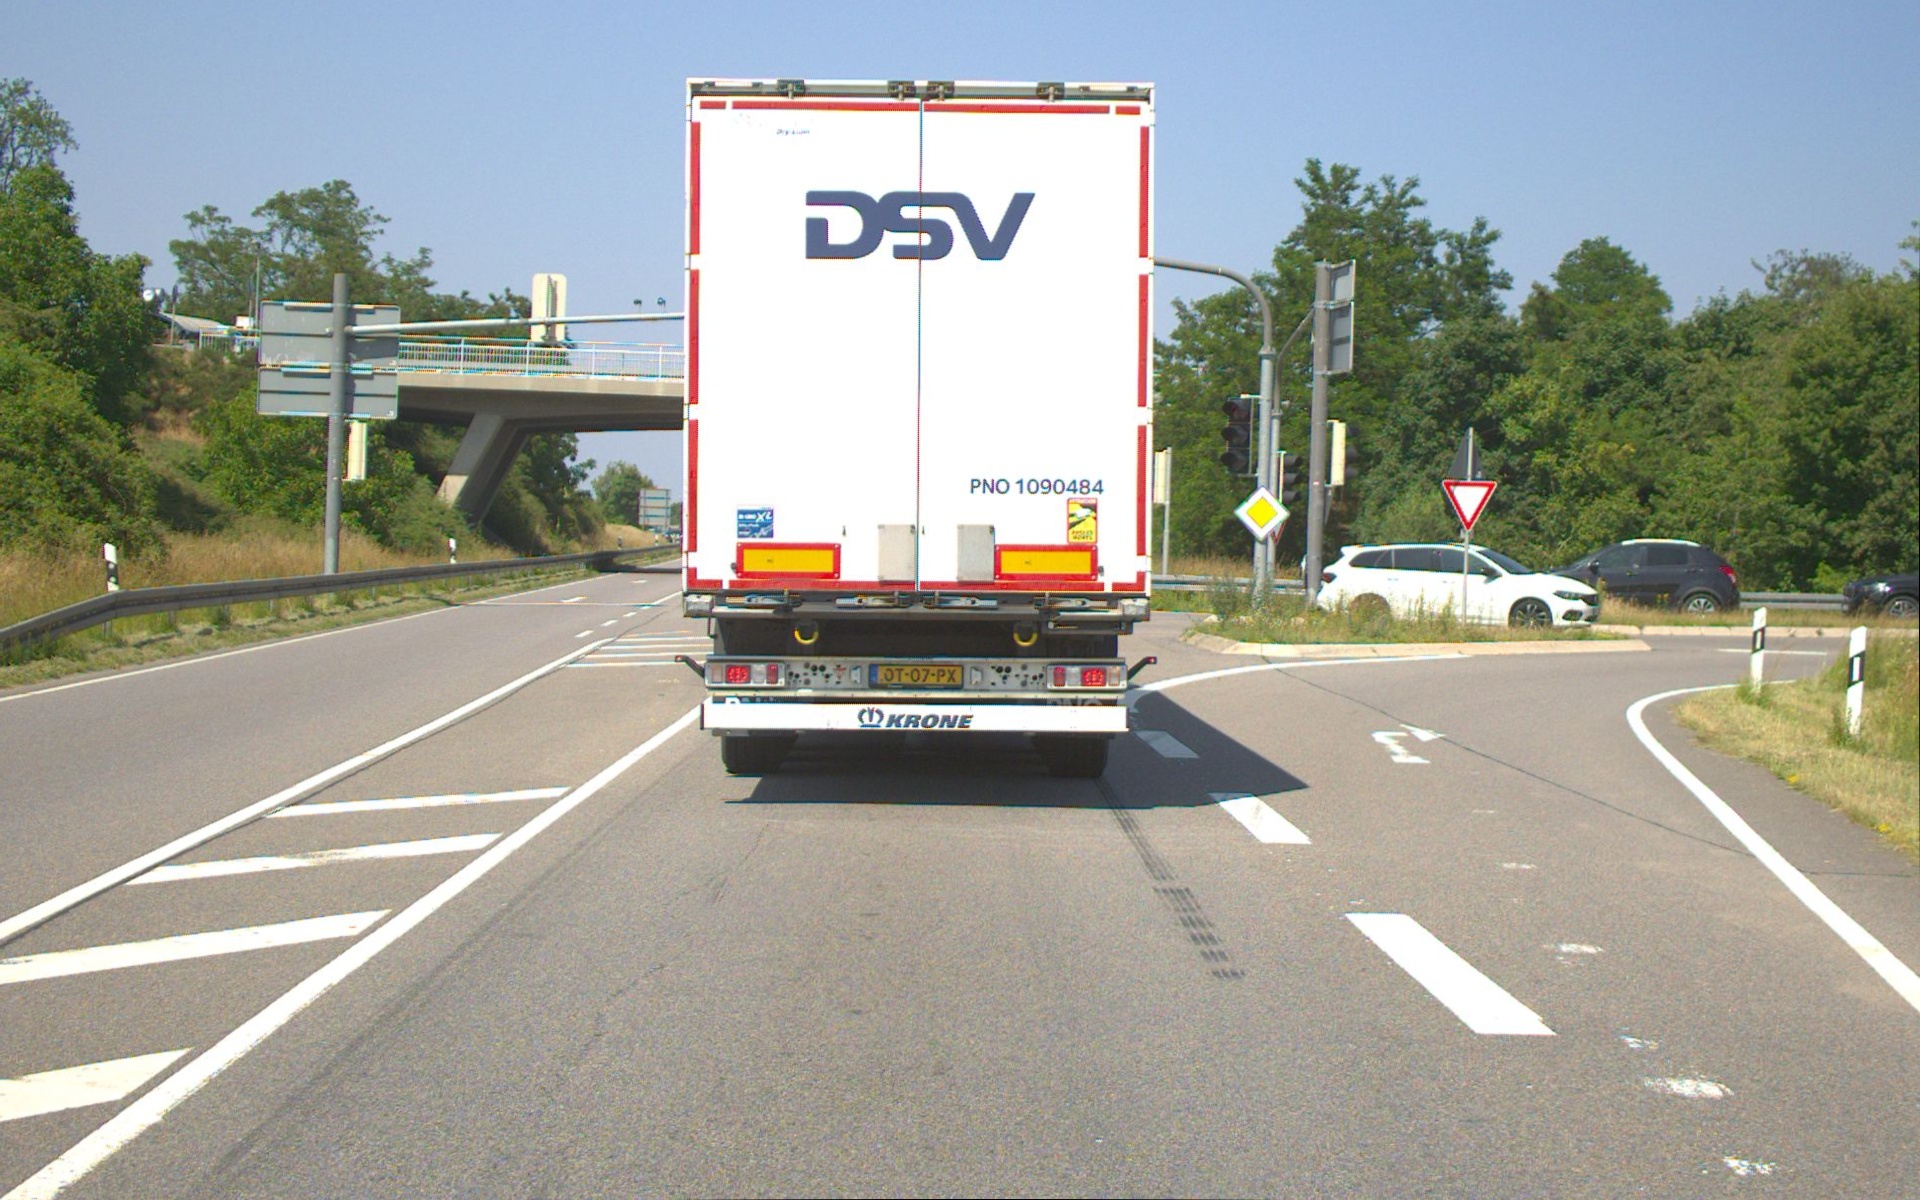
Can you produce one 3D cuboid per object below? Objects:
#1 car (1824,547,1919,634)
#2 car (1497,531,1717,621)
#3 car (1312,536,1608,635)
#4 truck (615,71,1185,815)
[{"bbox_3d":[18.554,-0.156,64.042,4.486,1.592,1.767,1,0,3],"label":"car"},{"bbox_3d":[12.414,-0.459,66.150,3.986,1.634,1.841,1,0,6],"label":"car"},{"bbox_3d":[8.143,-0.240,56.002,4.474,1.561,1.737,0,1,22],"label":"car"},{"bbox_3d":[-0.365,-0.909,23.313,2.987,3.928,9.876,1,1,0],"label":"truck"}]
